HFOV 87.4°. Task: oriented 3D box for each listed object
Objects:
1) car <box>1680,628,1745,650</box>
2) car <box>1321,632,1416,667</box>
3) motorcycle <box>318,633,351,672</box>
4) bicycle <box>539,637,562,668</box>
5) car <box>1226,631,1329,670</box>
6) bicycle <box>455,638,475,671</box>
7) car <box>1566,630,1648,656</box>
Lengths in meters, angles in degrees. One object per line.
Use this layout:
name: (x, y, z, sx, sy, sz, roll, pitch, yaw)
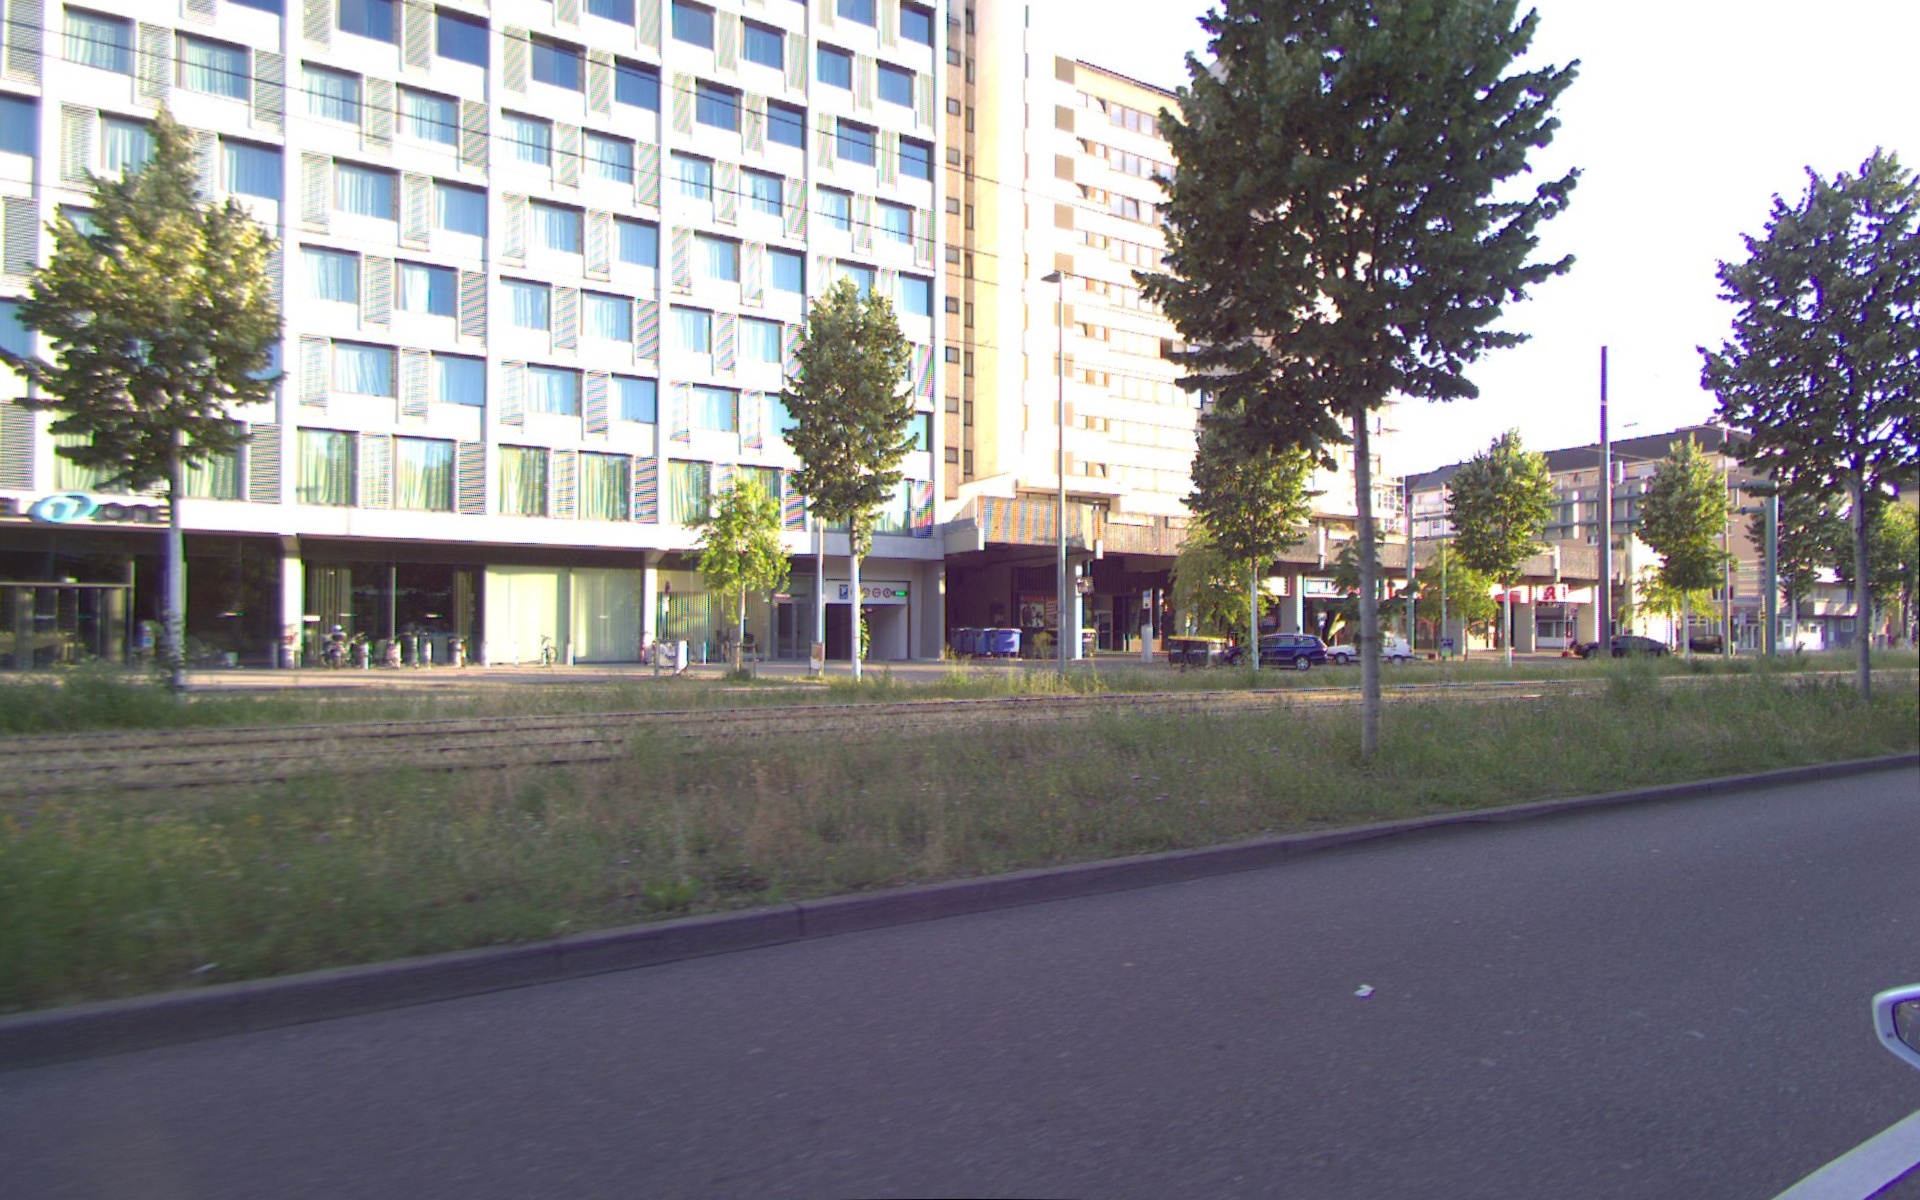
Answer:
car: (64.078, 3.292, 85.534, 2.165, 1.870, 3.916, 1, -2, -30)
car: (19.296, 2.306, 47.531, 4.051, 1.455, 1.825, 1, 0, 22)
motorcycle: (-19.945, 1.649, 32.018, 0.512, 1.187, 1.873, 1, -1, -44)
bicycle: (-14.320, 1.830, 35.101, 0.417, 1.033, 1.777, 1, -2, -32)
car: (13.988, 2.193, 44.181, 4.202, 1.611, 2.009, 0, -2, 21)
bicycle: (-16.591, 1.810, 33.658, 0.417, 1.033, 1.733, 1, -2, -32)
car: (37.453, 2.489, 58.241, 3.656, 1.469, 1.745, -1, -3, 19)
